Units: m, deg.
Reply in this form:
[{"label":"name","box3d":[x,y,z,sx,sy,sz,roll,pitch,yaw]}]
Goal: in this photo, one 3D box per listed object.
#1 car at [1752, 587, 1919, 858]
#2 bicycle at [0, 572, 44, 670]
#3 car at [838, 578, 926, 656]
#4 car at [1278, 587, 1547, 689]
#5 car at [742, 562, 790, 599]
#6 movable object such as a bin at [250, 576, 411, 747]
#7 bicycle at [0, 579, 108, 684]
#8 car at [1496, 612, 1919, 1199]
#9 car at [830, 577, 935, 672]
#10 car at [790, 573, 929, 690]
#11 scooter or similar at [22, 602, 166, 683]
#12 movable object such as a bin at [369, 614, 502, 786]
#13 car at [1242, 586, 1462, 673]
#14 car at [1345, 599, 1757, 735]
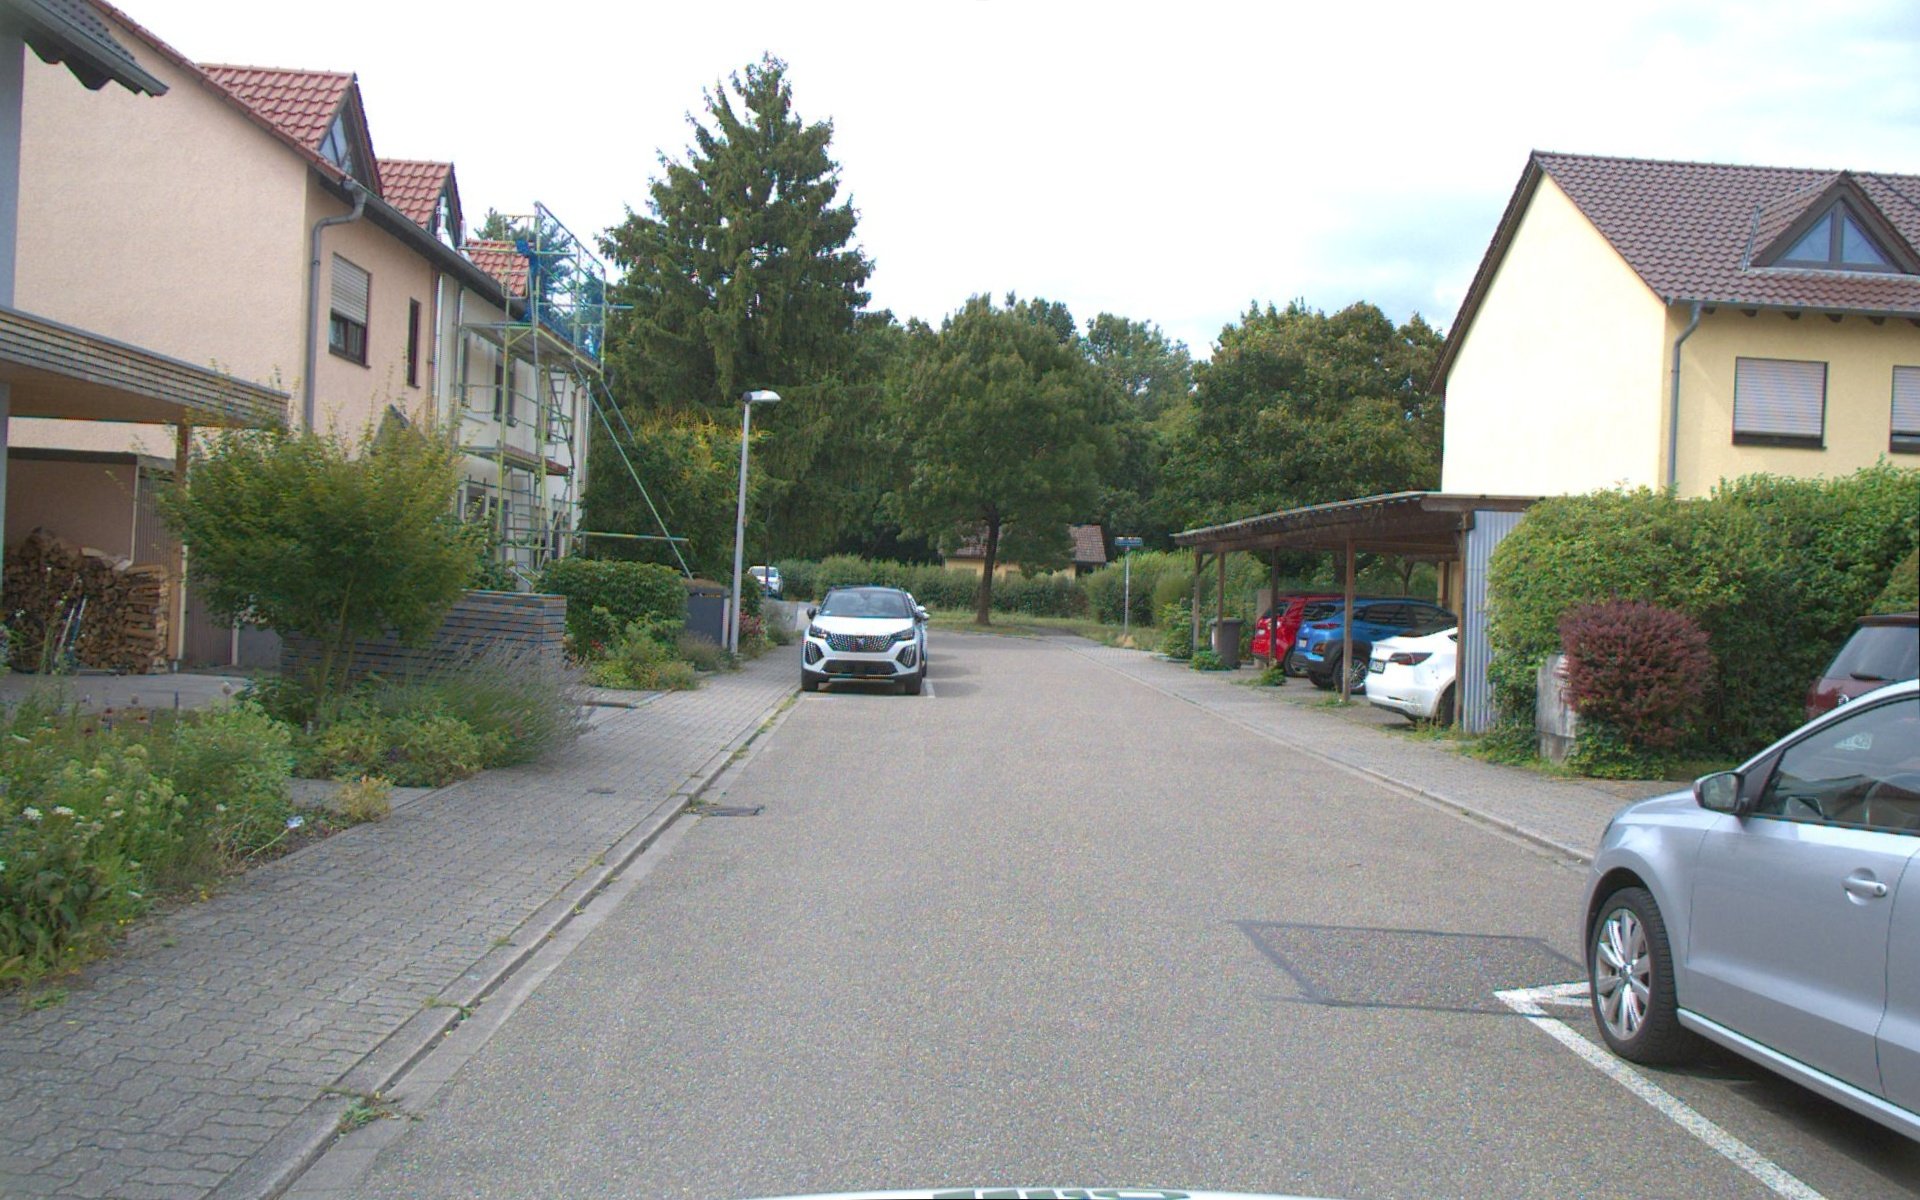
[{"label":"car","box3d":[7.692,0.765,10.707,4.183,1.587,1.934,2,0,-1]},{"label":"bicycle","box3d":[-10.321,0.184,16.819,1.889,0.969,0.357,2,0,7]},{"label":"car","box3d":[-1.663,0.333,36.359,1.755,1.558,4.139,2,1,-1]},{"label":"car","box3d":[7.631,0.628,28.156,3.967,1.549,1.949,2,1,-5]},{"label":"car","box3d":[-9.586,-0.957,81.923,1.898,1.689,4.340,2,1,-1]},{"label":"movable object such as a bin","box3d":[-5.152,0.486,13.602,0.930,1.335,1.000,1,0,-3]},{"label":"bicycle","box3d":[-9.375,0.283,16.186,1.890,0.969,0.357,2,0,3]},{"label":"car","box3d":[3.286,0.844,4.751,1.828,1.441,4.250,3,1,-4]},{"label":"car","box3d":[-1.407,0.392,30.907,1.773,1.589,4.846,2,1,-2]},{"label":"car","box3d":[-1.450,0.407,25.505,1.895,1.583,4.633,2,1,-1]},{"label":"scooter or similar","box3d":[-8.918,0.435,17.048,1.276,0.811,0.363,0,1,-2]},{"label":"movable object such as a bin","box3d":[-3.499,0.653,11.082,0.685,1.091,0.711,1,0,-5]},{"label":"car","box3d":[7.792,0.565,33.083,3.879,1.567,1.838,2,1,-5]},{"label":"car","box3d":[7.253,0.804,20.602,4.362,1.458,2.026,2,1,-4]}]
